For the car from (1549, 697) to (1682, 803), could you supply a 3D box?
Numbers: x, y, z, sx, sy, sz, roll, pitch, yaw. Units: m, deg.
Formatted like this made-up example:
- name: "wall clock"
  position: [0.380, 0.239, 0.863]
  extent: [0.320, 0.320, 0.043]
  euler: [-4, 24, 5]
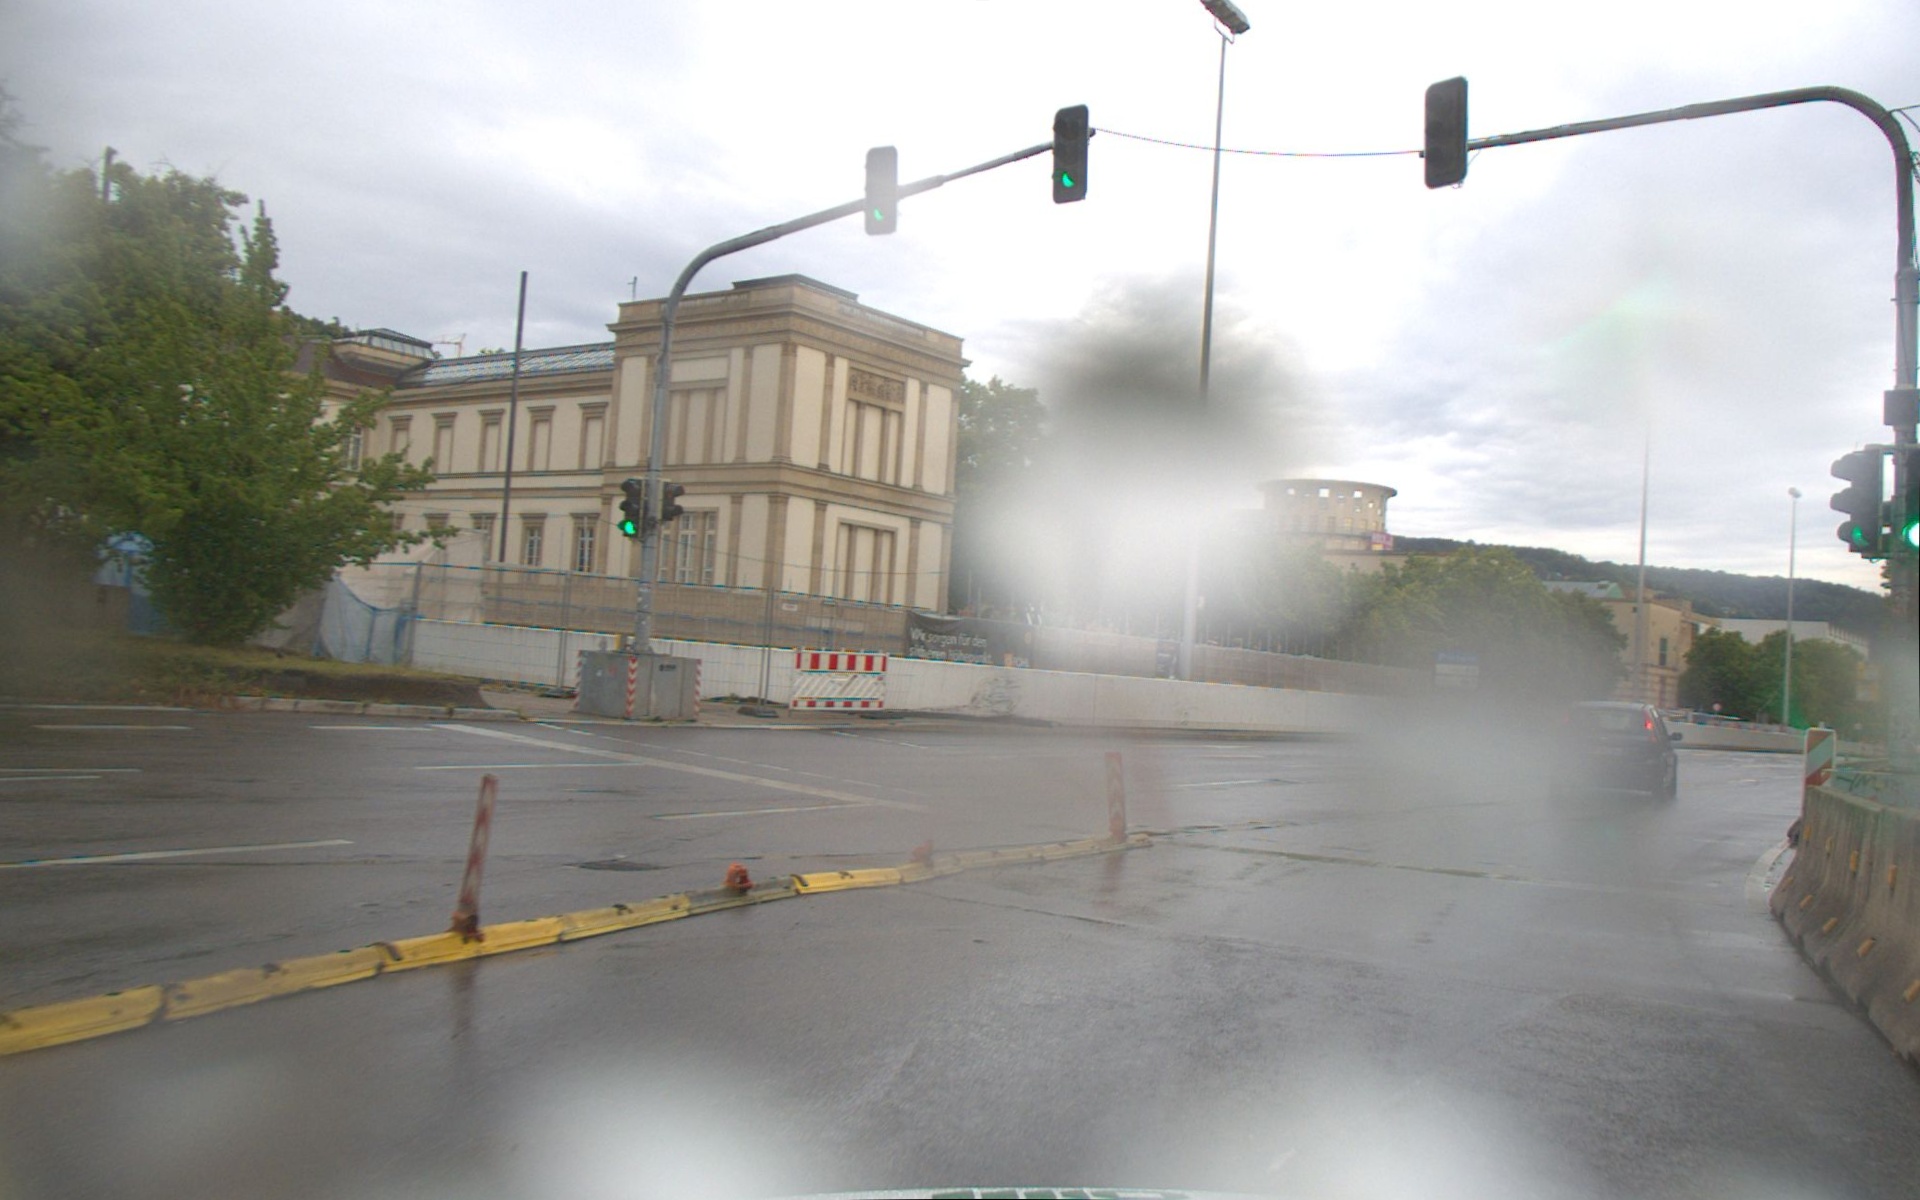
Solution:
- name: "car"
  position: [10.268, 2.299, 25.773]
  extent: [1.637, 1.452, 3.753]
  euler: [0, -4, 26]

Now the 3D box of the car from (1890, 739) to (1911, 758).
- name: "car"
  position: [76.007, 12.040, 133.684]
  extent: [1.360, 1.411, 3.059]
  euler: [1, -4, 31]
